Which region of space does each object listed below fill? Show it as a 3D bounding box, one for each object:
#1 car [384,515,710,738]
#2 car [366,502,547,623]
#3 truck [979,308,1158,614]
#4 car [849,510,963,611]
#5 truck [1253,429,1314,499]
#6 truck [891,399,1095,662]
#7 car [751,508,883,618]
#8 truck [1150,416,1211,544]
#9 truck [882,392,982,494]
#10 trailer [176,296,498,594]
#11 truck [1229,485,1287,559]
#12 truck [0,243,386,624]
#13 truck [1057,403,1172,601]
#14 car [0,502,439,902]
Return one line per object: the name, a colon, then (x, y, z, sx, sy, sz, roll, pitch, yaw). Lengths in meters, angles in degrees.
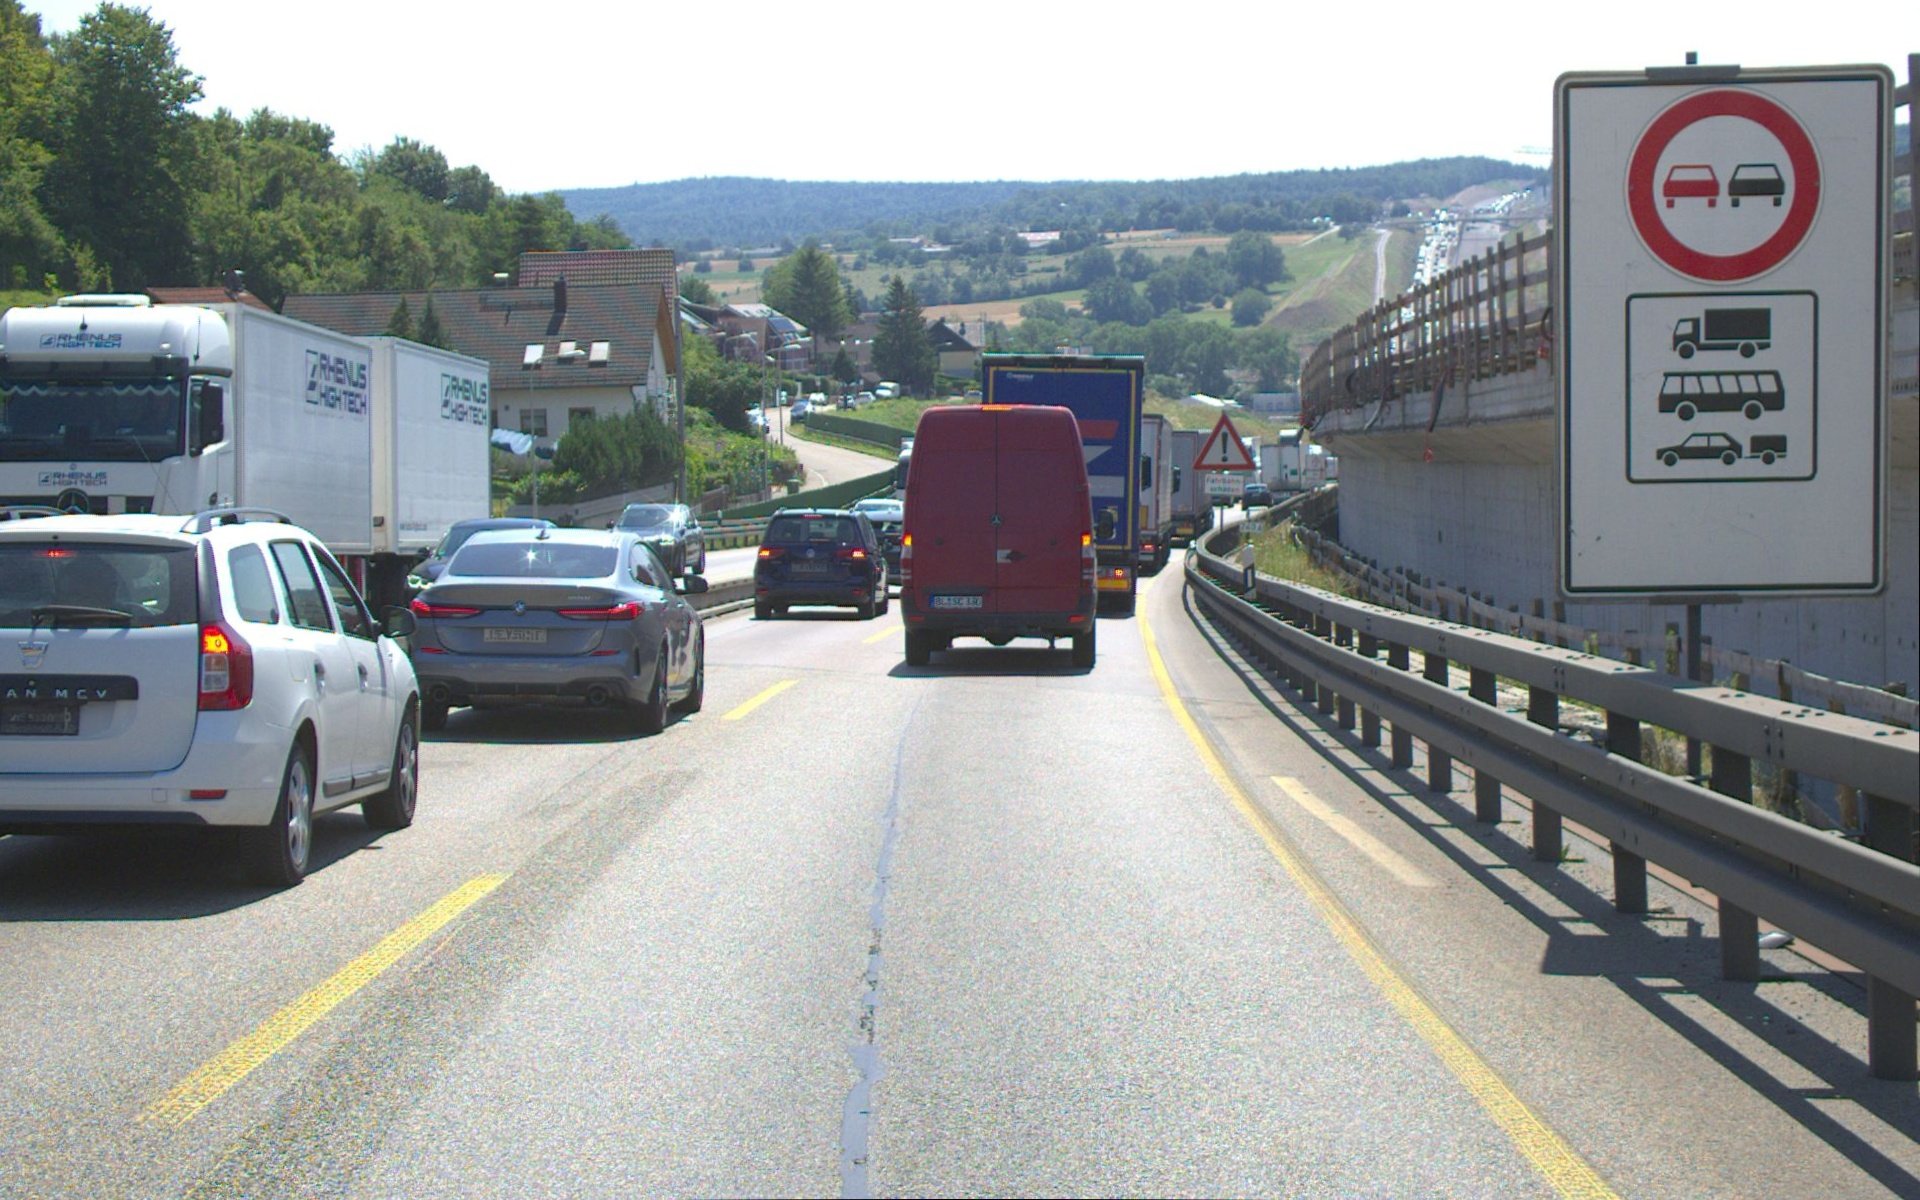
car: (-2.905, 0.137, 24.964, 1.795, 1.480, 4.050, 0, 1, 1)
car: (-6.400, -0.521, 44.098, 1.781, 1.473, 4.621, 0, 2, -2)
truck: (1.972, -2.222, 58.867, 2.786, 4.799, 9.684, 0, 0, 3)
car: (-0.989, -0.730, 64.711, 1.729, 1.832, 3.999, 0, 0, 5)
truck: (21.766, -9.090, 230.683, 3.469, 4.366, 8.554, 0, 0, 9)
truck: (0.367, -0.700, 35.808, 1.993, 2.570, 4.000, 0, 0, 1)
car: (-2.127, -0.556, 52.040, 1.810, 1.602, 3.719, 0, 0, 1)
truck: (7.706, -4.142, 119.760, 1.994, 4.366, 3.999, 0, 0, 5)
truck: (-1.099, -6.414, 141.372, 3.136, 4.065, 6.877, 0, 2, 8)
trailer: (-9.335, -2.279, 52.649, 3.004, 4.151, 9.017, 0, 1, 2)
truck: (18.261, -4.751, 210.307, 3.070, 4.366, 8.554, 0, 0, 8)
truck: (-9.695, -1.982, 42.856, 2.978, 4.148, 10.545, 0, 2, 2)
truck: (4.035, -2.429, 88.587, 2.786, 4.799, 9.684, 0, 0, 3)
car: (-3.488, 0.370, 15.128, 1.651, 1.478, 4.266, -2, 1, 1)
